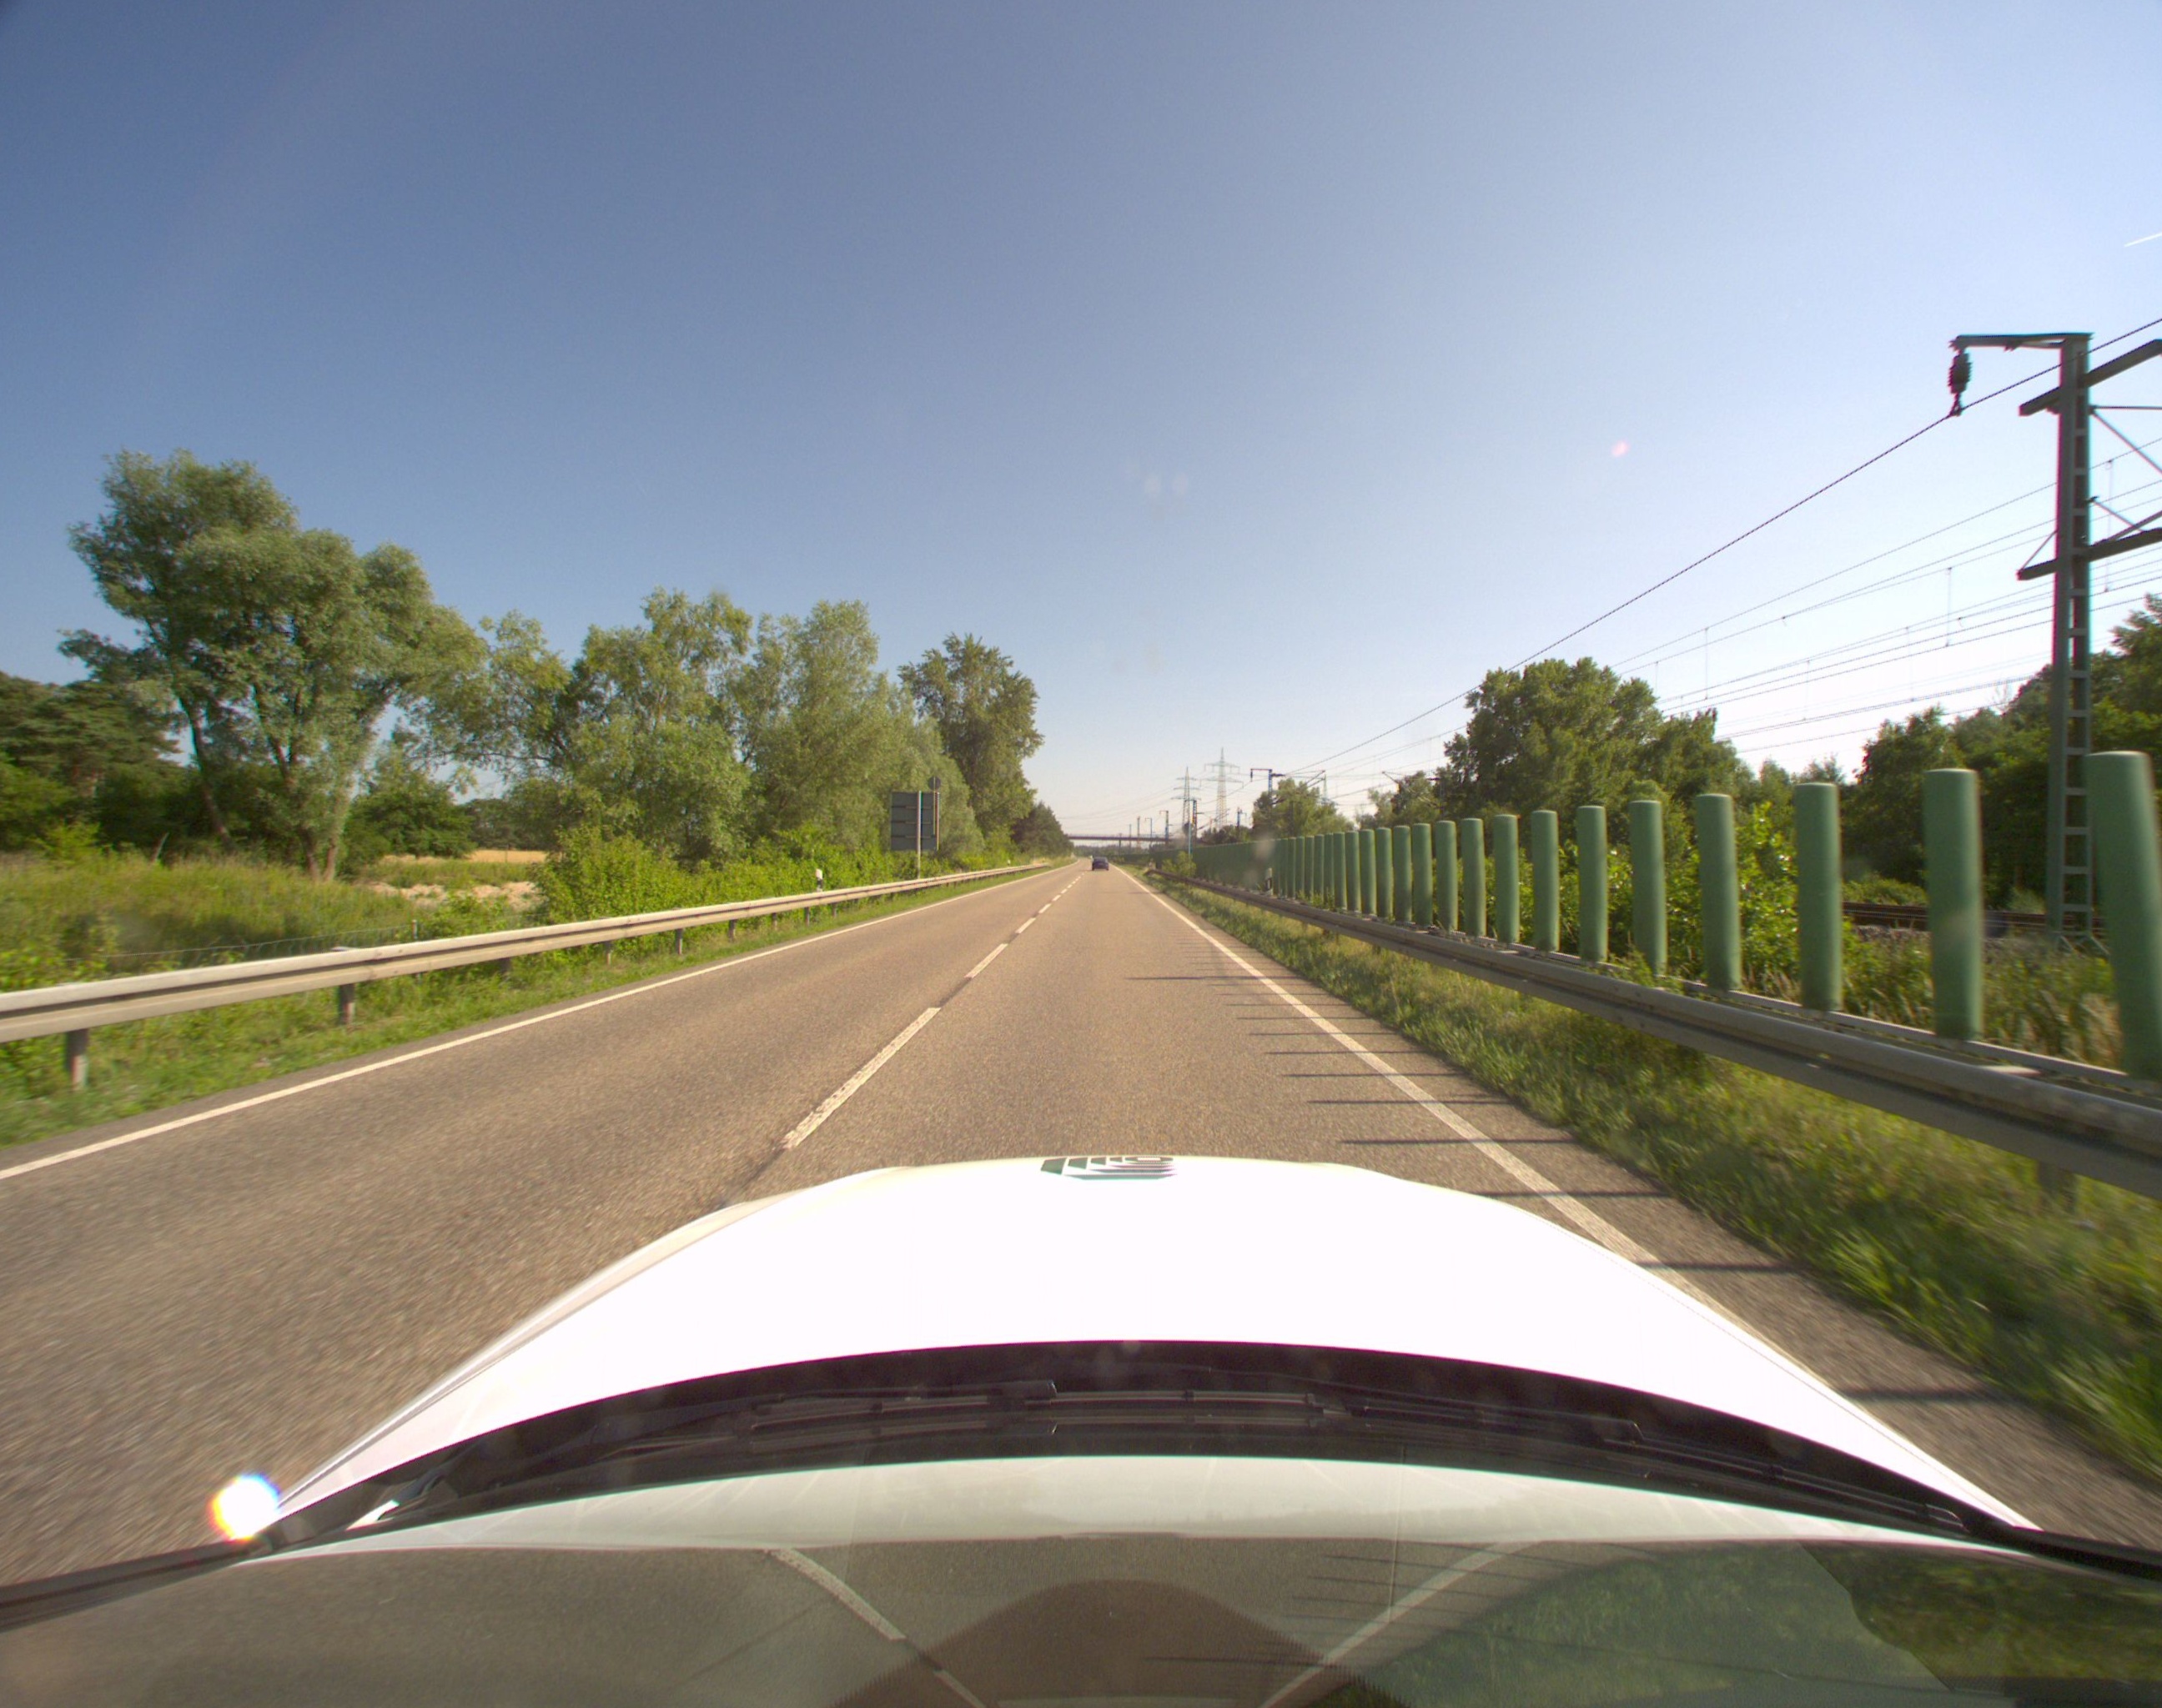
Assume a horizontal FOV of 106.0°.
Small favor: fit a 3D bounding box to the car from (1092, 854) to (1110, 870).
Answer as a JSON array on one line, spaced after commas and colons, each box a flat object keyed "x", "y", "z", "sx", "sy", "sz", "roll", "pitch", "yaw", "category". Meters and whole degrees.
[{"x": 2.144, "y": 0.893, "z": 88.940, "sx": 1.852, "sy": 1.642, "sz": 4.000, "roll": -1, "pitch": 0, "yaw": 1, "category": "car"}]
